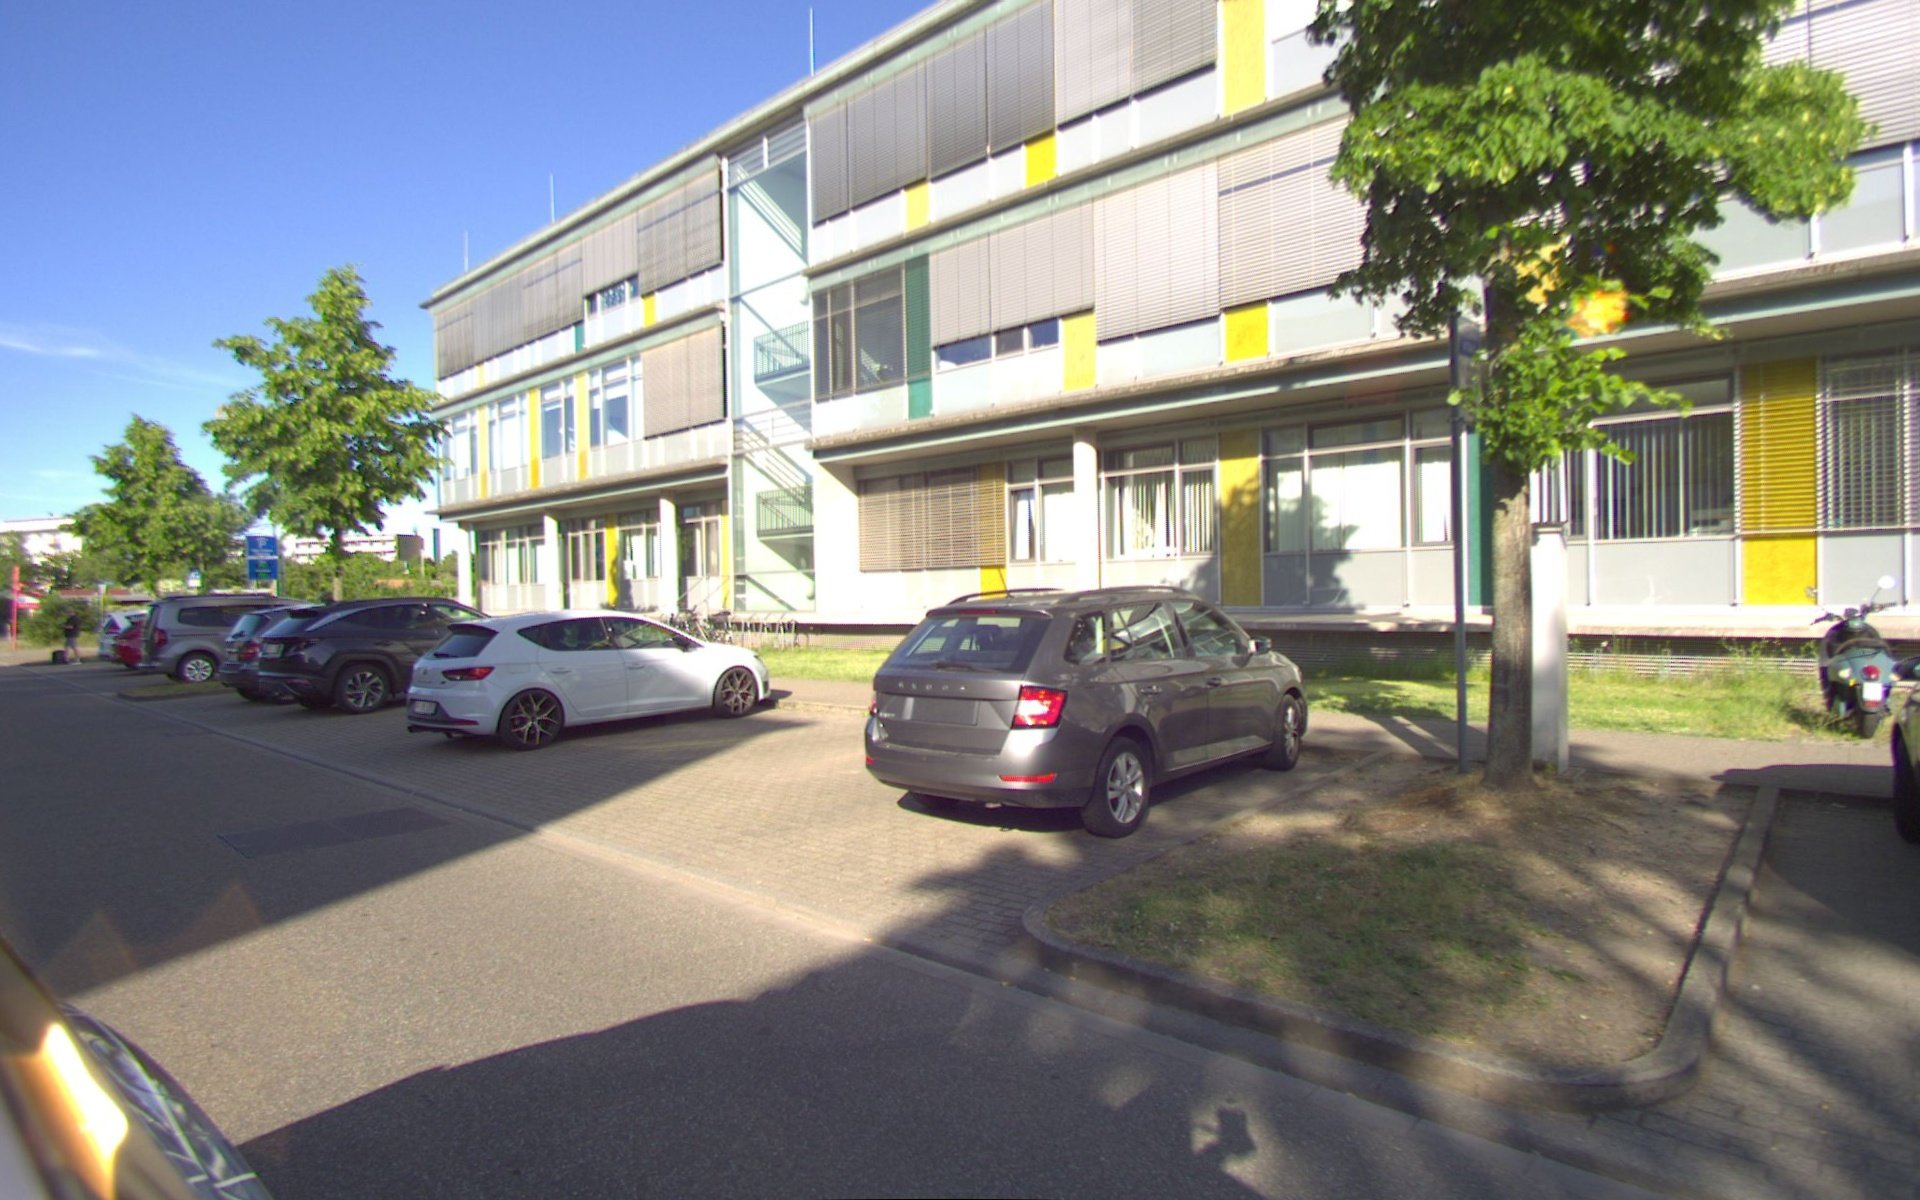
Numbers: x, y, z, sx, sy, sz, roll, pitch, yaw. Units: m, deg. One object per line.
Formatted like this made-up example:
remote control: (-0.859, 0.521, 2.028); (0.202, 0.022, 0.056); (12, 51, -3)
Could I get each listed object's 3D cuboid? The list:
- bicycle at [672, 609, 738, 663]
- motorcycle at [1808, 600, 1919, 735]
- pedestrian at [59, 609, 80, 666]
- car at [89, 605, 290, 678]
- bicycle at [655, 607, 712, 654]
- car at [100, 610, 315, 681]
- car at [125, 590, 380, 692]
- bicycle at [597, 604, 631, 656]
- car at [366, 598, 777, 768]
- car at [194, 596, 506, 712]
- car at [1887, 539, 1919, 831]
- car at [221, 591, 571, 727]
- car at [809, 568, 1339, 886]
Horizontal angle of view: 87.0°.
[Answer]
bicycle: (-5.372, 0.742, 21.262); (1.660, 1.087, 0.512); (-1, -1, 42)
motorcycle: (7.422, 0.503, 8.253); (0.621, 0.951, 1.560); (-1, 1, 34)
pedestrian: (-28.235, 1.179, 32.095); (0.479, 1.733, 0.364); (4, 5, 39)
car: (-21.675, 1.095, 28.580); (4.297, 1.658, 2.002); (-4, 2, -43)
bicycle: (-6.713, 0.722, 24.498); (1.660, 1.105, 0.512); (-1, -1, 42)
car: (-19.646, 1.118, 26.522); (4.297, 1.471, 2.002); (-4, 2, -43)
car: (-15.752, 0.826, 22.687); (2.000, 1.876, 4.301); (-2, 2, 43)
bicycle: (-8.139, 0.681, 23.779); (0.455, 1.104, 1.517); (-3, 3, -28)
car: (-4.327, 0.792, 11.770); (1.823, 1.433, 4.050); (0, 3, 40)
car: (-10.731, 0.863, 18.092); (1.997, 1.602, 4.307); (-2, 2, 38)
car: (5.058, 0.485, 3.803); (1.774, 1.499, 3.710); (-1, 2, 34)
car: (-8.625, 0.780, 15.812); (1.997, 1.639, 4.307); (-1, 2, 38)
car: (1.050, 0.597, 7.186); (1.823, 1.499, 3.941); (0, 3, 41)
